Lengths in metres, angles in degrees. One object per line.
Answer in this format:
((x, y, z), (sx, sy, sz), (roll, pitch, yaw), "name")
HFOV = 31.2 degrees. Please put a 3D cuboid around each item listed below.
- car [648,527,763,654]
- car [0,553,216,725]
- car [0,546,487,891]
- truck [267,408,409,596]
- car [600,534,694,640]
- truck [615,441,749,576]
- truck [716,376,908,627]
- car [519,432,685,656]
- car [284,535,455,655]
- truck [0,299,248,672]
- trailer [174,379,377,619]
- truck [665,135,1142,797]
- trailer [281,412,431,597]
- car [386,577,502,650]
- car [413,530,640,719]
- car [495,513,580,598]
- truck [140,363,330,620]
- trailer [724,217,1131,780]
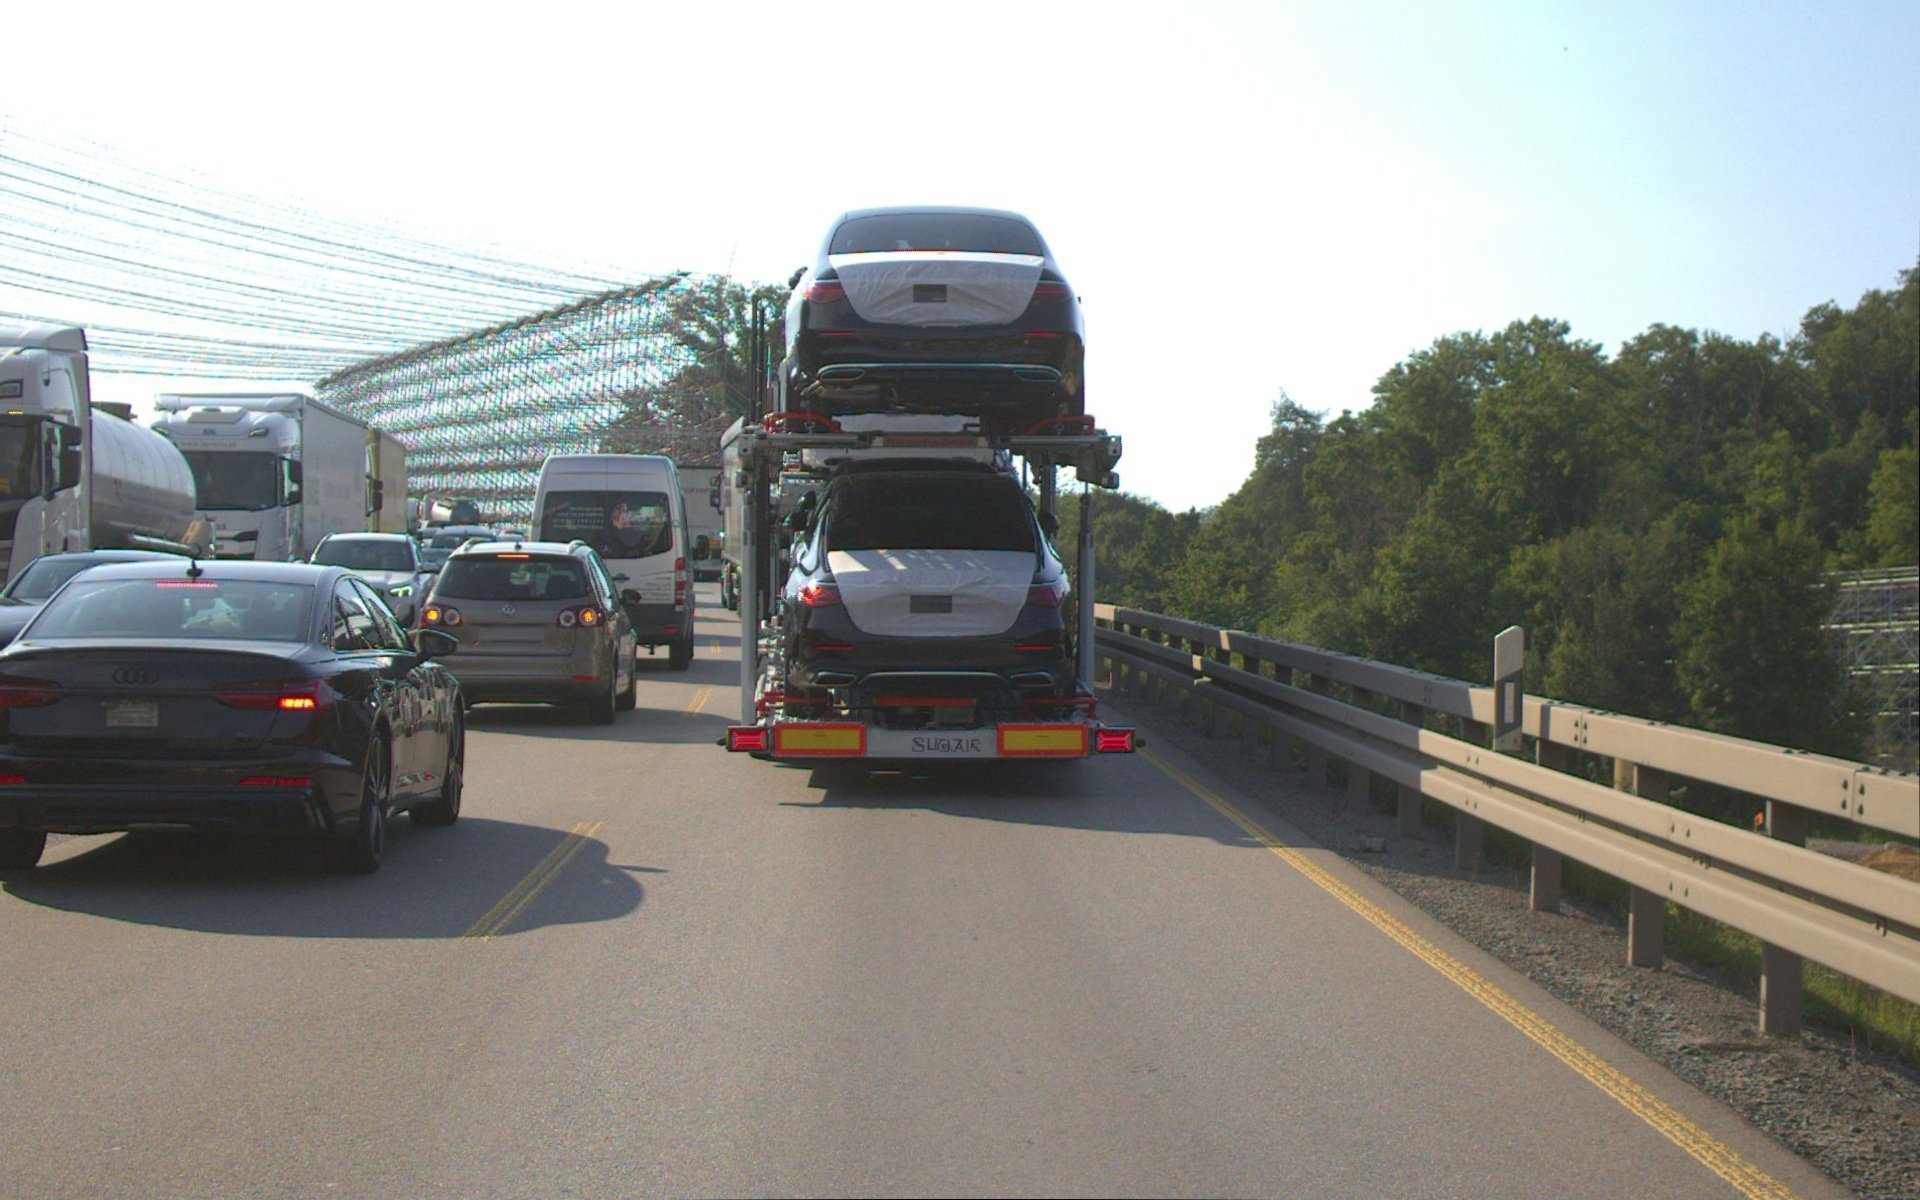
((-4.131, -0.144, 55.458), (1.668, 1.978, 3.819), (0, 0, -7), "car")
((-7.924, 0.322, 30.492), (1.739, 1.397, 4.903), (0, 0, -2), "car")
((-3.692, 0.503, 17.439), (1.940, 1.475, 5.222), (-1, 0, -1), "car")
((-14.639, -2.240, 81.228), (2.893, 4.257, 5.772), (0, 0, -6), "truck")
((-6.053, -0.243, 66.248), (1.668, 1.978, 3.819), (0, 0, -7), "car")
((-10.216, -3.304, 124.895), (3.647, 4.661, 11.699), (0, 1, -10), "truck")
((-3.185, -1.984, 70.310), (3.227, 4.661, 11.698), (0, 1, -6), "truck")
((-4.446, -0.662, 43.168), (1.979, 2.675, 4.147), (0, 0, -5), "car")
((-8.500, -0.073, 49.790), (1.846, 1.642, 4.560), (-1, 0, -2), "car")
((-11.563, -1.370, 43.634), (2.808, 3.956, 13.895), (4, 0, -4), "truck")
((-13.194, -1.783, 67.159), (2.453, 4.251, 12.147), (0, 0, -4), "trailer")
((-0.255, -0.799, 23.550), (2.870, 3.966, 5.771), (0, 0, 2), "truck")
((-15.505, -2.275, 89.138), (2.893, 4.379, 14.382), (0, 0, -6), "trailer")
((-9.258, 0.231, 61.931), (1.711, 1.248, 4.052), (-1, 0, -4), "car")
((-3.840, 0.209, 31.006), (1.700, 1.581, 4.147), (0, 0, -3), "car")
((-9.814, -1.065, 80.112), (1.832, 1.910, 4.866), (0, 1, -5), "car")
((-12.592, -1.795, 60.145), (2.443, 4.257, 6.322), (0, 0, -4), "truck")
((-0.458, -0.705, 31.957), (2.874, 3.980, 15.280), (0, 0, -2), "trailer")
